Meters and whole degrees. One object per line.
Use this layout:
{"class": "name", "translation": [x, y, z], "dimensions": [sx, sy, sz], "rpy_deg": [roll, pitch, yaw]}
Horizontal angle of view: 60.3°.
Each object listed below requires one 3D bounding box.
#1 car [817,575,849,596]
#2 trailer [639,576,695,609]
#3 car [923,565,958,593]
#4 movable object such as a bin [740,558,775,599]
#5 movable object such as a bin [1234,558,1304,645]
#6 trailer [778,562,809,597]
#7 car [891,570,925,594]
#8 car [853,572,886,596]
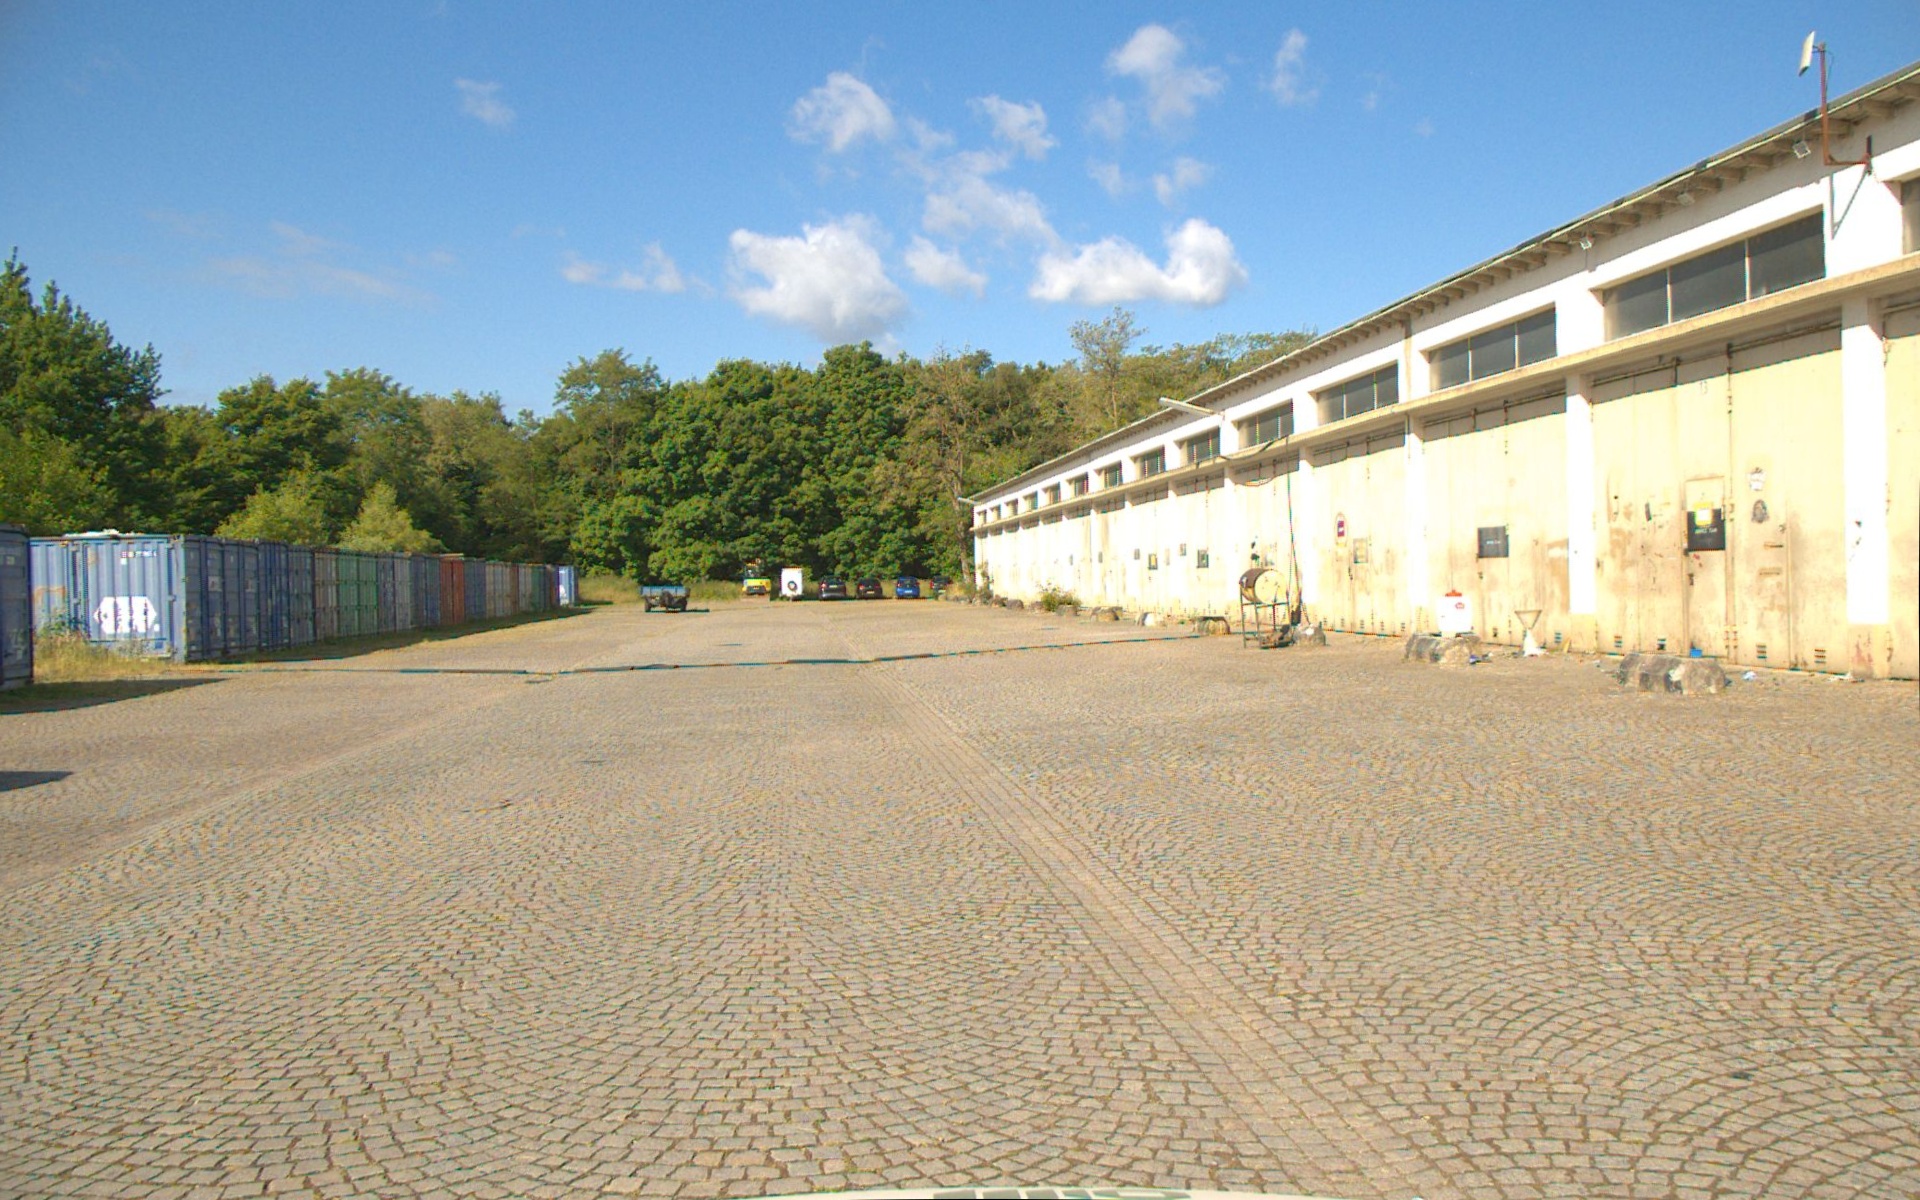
{"class": "car", "translation": [-8.488, -0.965, 110.347], "dimensions": [1.955, 1.280, 3.995], "rpy_deg": [-2, 1, -6]}
{"class": "trailer", "translation": [-16.250, -0.424, 92.054], "dimensions": [2.738, 1.674, 5.612], "rpy_deg": [-2, 1, -7]}
{"class": "car", "translation": [-1.372, -1.433, 112.770], "dimensions": [1.955, 1.803, 3.995], "rpy_deg": [-2, 1, -6]}
{"class": "movable object such as a bin", "translation": [-13.716, -1.459, 111.748], "dimensions": [2.190, 2.703, 3.993], "rpy_deg": [-2, 1, -8]}
{"class": "movable object such as a bin", "translation": [5.276, 0.015, 28.306], "dimensions": [0.858, 1.425, 1.100], "rpy_deg": [-2, 1, -7]}
{"class": "trailer", "translation": [-11.232, -1.374, 111.270], "dimensions": [1.955, 2.200, 4.426], "rpy_deg": [-2, 1, -7]}
{"class": "car", "translation": [-3.540, -1.212, 111.274], "dimensions": [1.955, 1.491, 3.995], "rpy_deg": [-2, 1, -6]}
{"class": "car", "translation": [-6.065, -1.083, 110.998], "dimensions": [1.955, 1.448, 3.995], "rpy_deg": [-2, 1, -6]}
